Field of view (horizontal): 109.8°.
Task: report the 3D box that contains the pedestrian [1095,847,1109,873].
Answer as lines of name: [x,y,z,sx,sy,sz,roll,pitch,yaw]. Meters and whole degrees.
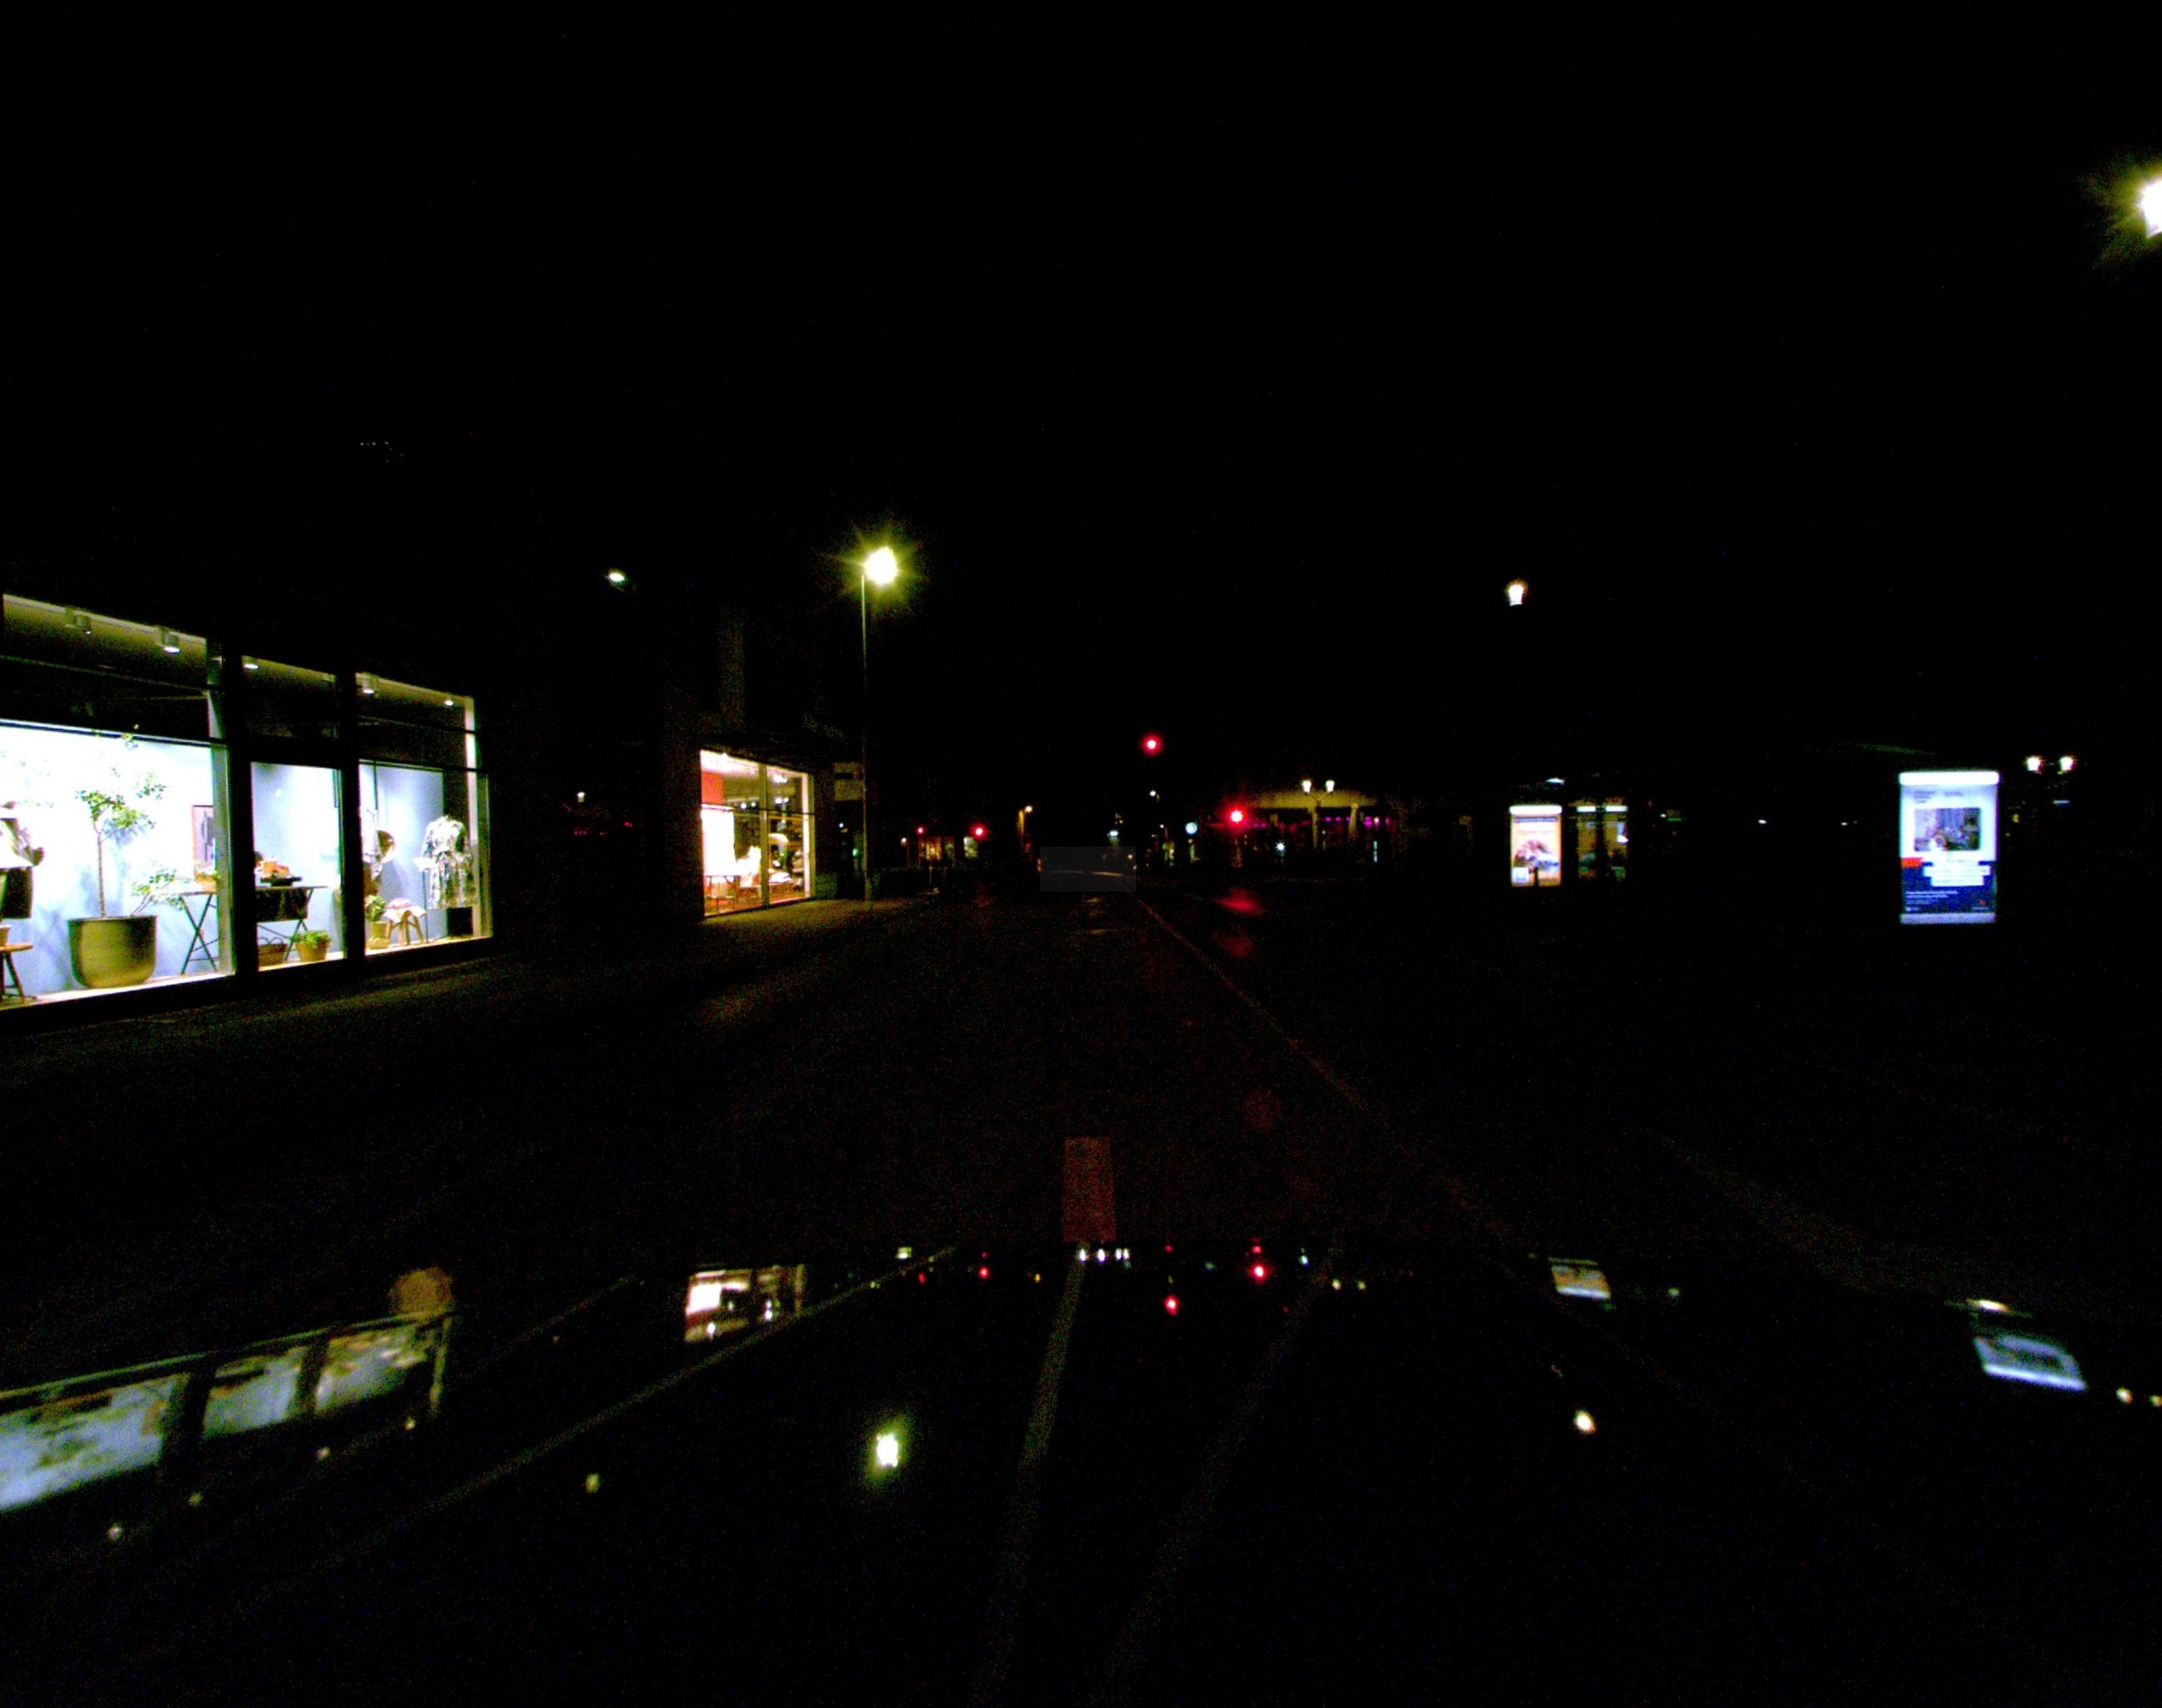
pedestrian: [1.399,0.370,50.958,0.877,1.723,0.647,0,1,4]

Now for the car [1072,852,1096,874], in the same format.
car: [0.271,0.692,60.635,1.713,1.660,3.738,-2,1,3]

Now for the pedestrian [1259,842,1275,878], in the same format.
pedestrian: [8.507,0.273,34.701,0.582,1.619,0.648,-2,1,23]

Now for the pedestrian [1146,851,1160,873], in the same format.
pedestrian: [4.915,0.573,51.905,0.828,1.487,0.648,0,1,17]

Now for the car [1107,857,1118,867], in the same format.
car: [6.162,1.581,149.796,1.879,1.718,3.999,-2,1,1]

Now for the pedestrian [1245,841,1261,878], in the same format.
pedestrian: [7.901,0.267,34.920,0.582,1.672,0.648,-2,1,23]

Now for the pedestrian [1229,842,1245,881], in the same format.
pedestrian: [6.875,0.323,33.497,0.539,1.672,0.648,-2,1,23]
